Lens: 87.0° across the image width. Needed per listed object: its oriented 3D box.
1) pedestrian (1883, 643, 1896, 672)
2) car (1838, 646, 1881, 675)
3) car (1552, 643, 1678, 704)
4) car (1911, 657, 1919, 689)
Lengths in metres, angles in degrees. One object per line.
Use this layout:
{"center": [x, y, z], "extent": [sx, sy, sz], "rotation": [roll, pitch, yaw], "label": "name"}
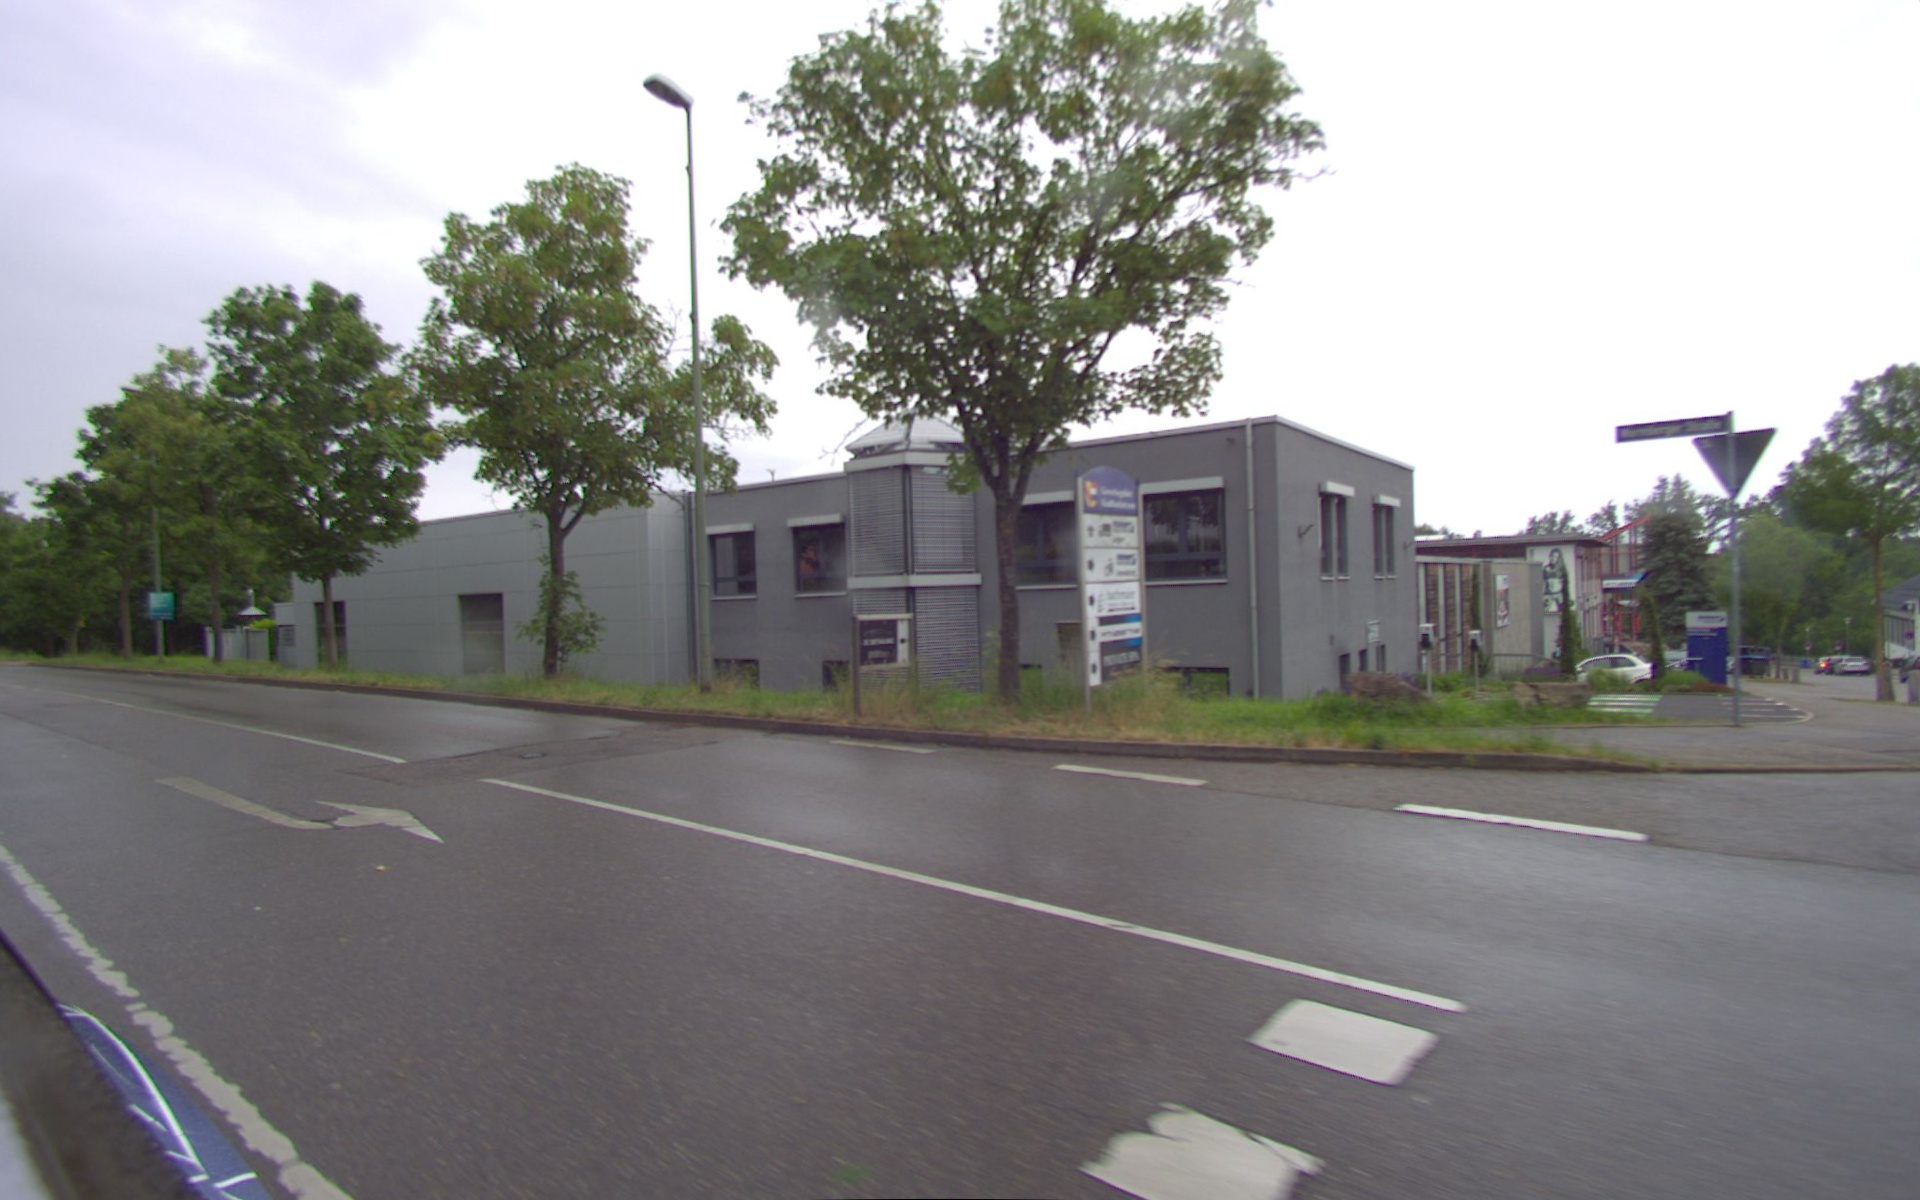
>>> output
{"center": [49.372, 3.063, 53.737], "extent": [0.407, 1.533, 0.417], "rotation": [-1, -2, 32], "label": "pedestrian"}
{"center": [69.395, 4.652, 78.130], "extent": [1.996, 2.029, 3.952], "rotation": [-1, -1, 35], "label": "car"}
{"center": [21.704, 2.455, 33.572], "extent": [3.196, 1.565, 1.489], "rotation": [-12, -9, 36], "label": "car"}
{"center": [49.028, 3.686, 50.431], "extent": [1.806, 1.590, 3.952], "rotation": [-1, -2, 35], "label": "car"}
